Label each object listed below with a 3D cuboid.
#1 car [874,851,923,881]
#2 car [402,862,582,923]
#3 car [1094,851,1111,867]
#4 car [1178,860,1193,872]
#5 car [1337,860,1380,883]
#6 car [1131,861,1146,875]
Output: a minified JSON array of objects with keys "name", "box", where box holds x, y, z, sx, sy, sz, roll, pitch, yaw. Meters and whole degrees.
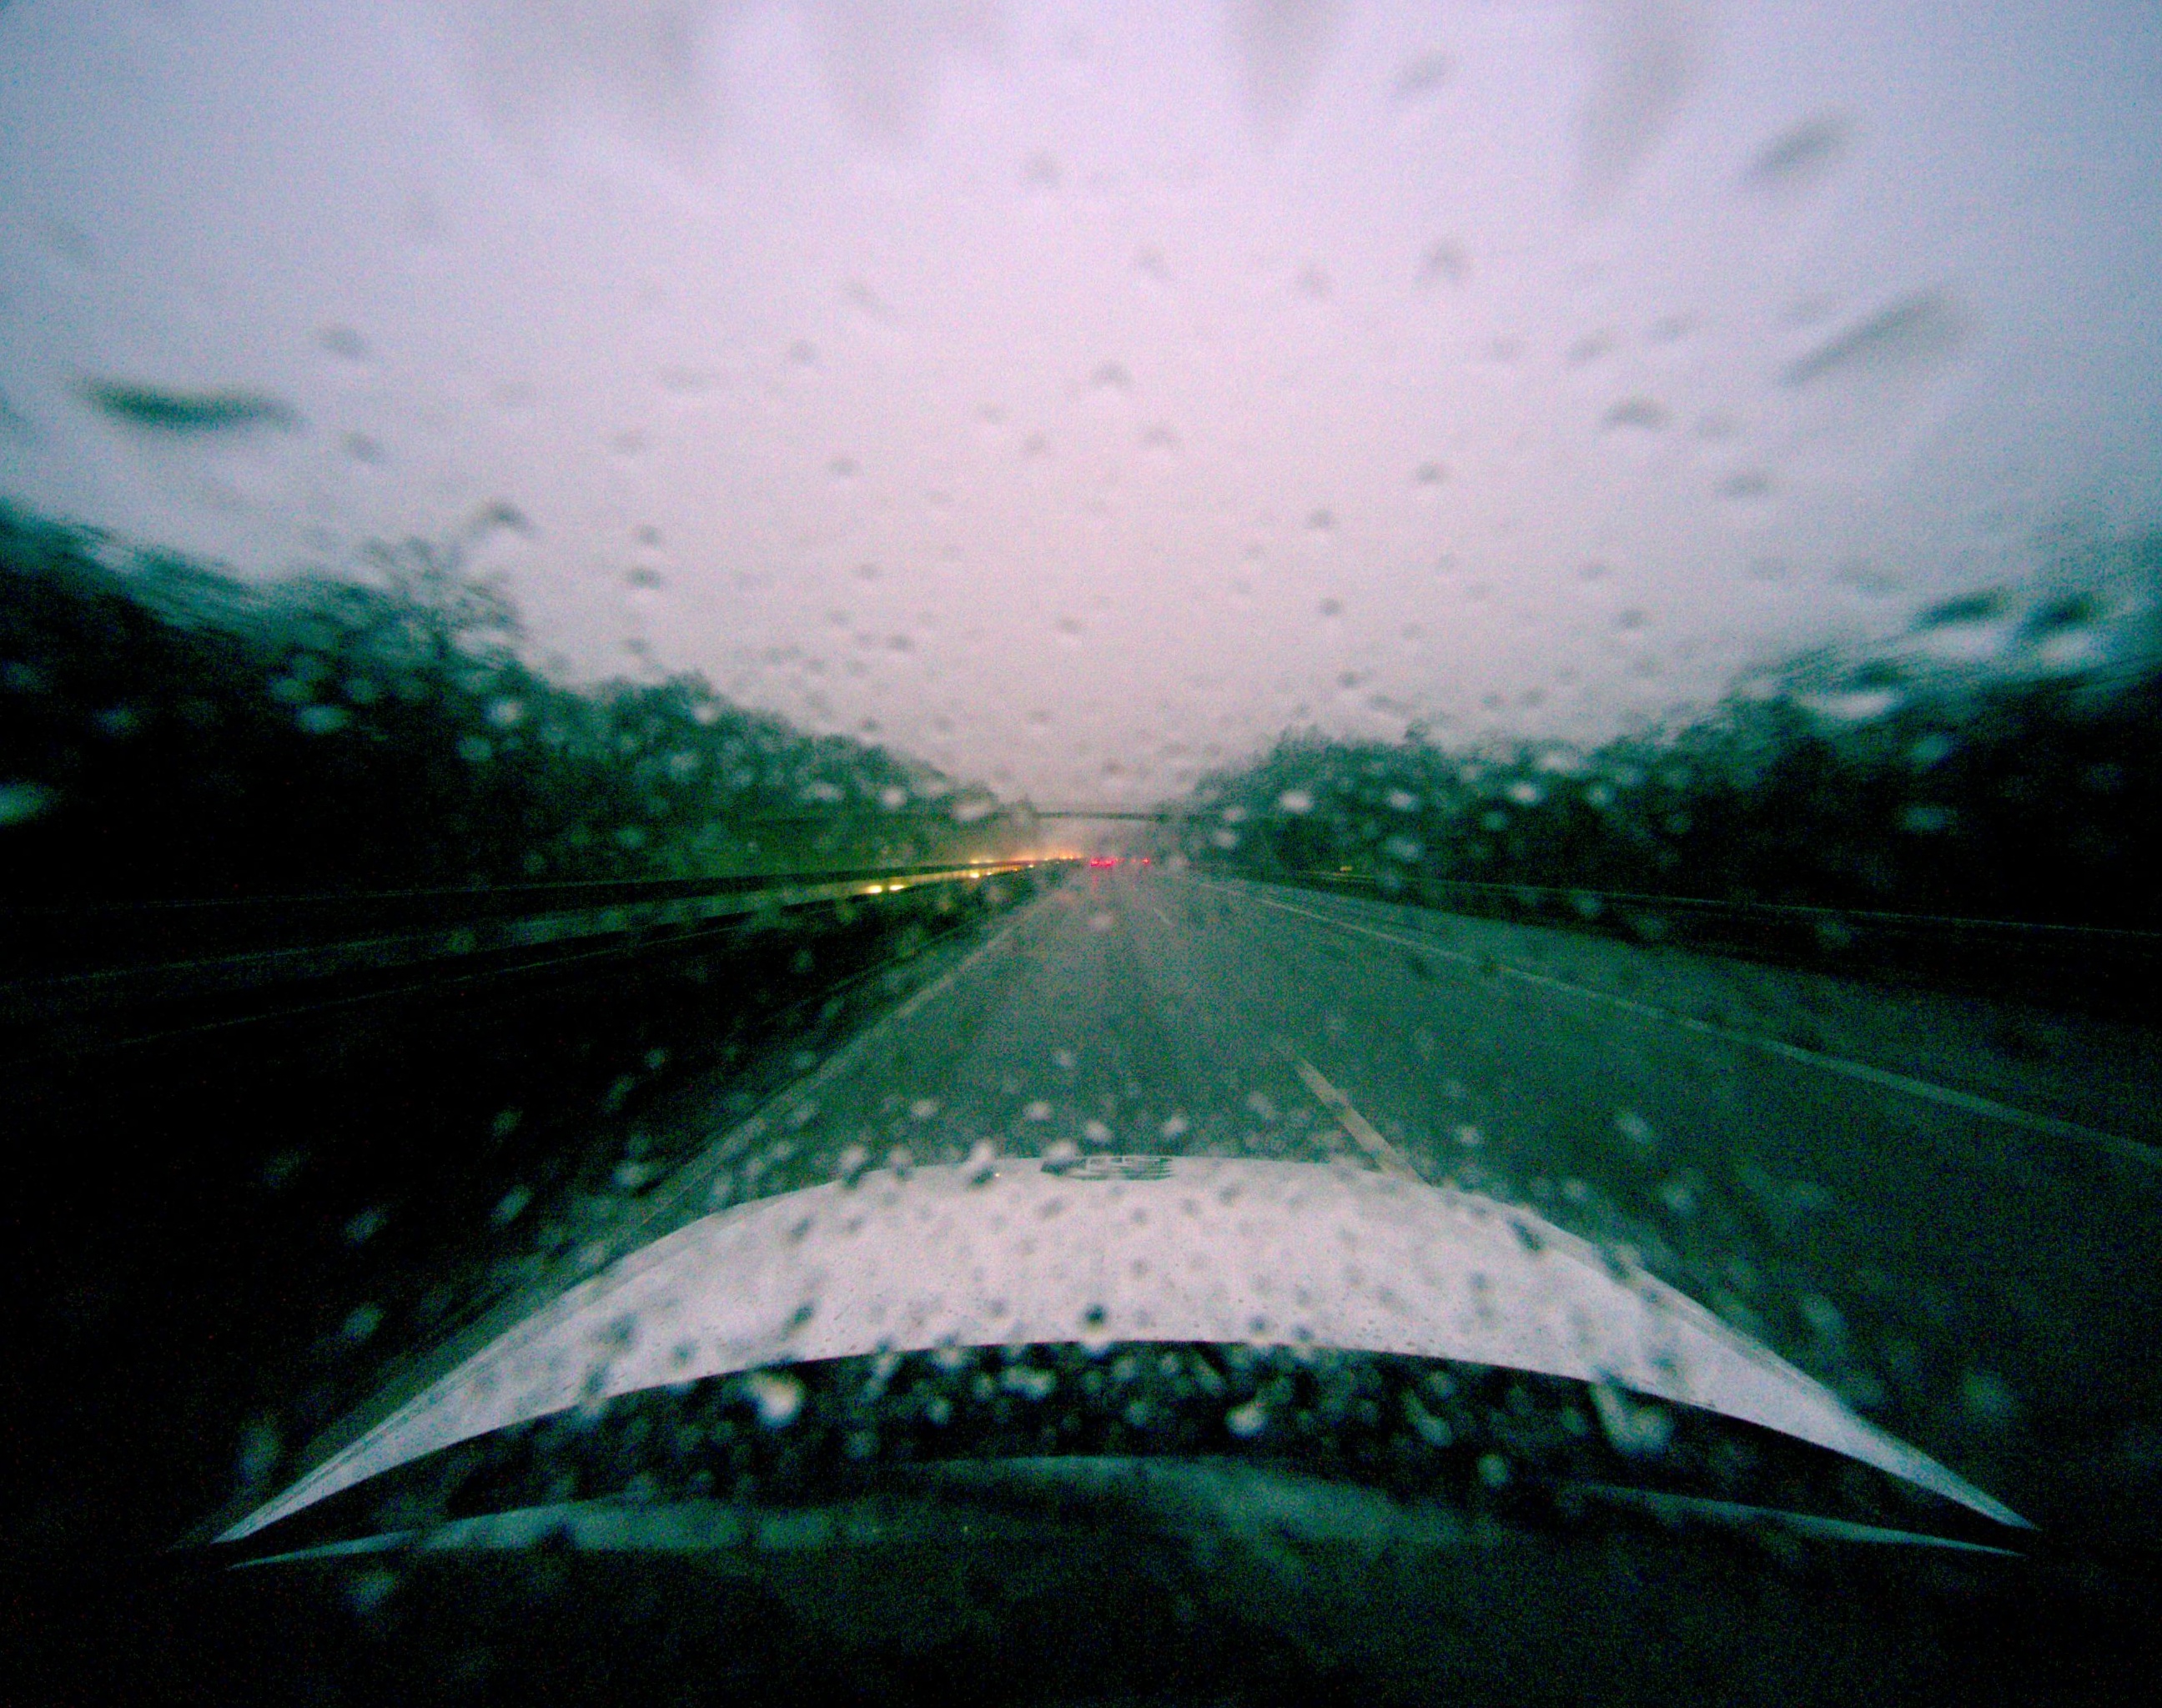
[{"name":"car","box":[-10.887,0.670,48.820,1.878,1.684,4.002,1,0,2]},{"name":"car","box":[-15.798,0.973,22.139,1.834,1.444,4.001,1,0,2]},{"name":"car","box":[1.929,0.449,71.446,1.448,1.344,3.491,0,-1,2]},{"name":"car","box":[12.597,1.411,97.948,1.448,1.344,3.491,0,0,2]},{"name":"car","box":[16.183,1.000,47.595,1.448,1.344,3.491,0,0,2]},{"name":"car","box":[6.099,1.442,86.447,1.448,1.429,3.491,0,0,2]}]
